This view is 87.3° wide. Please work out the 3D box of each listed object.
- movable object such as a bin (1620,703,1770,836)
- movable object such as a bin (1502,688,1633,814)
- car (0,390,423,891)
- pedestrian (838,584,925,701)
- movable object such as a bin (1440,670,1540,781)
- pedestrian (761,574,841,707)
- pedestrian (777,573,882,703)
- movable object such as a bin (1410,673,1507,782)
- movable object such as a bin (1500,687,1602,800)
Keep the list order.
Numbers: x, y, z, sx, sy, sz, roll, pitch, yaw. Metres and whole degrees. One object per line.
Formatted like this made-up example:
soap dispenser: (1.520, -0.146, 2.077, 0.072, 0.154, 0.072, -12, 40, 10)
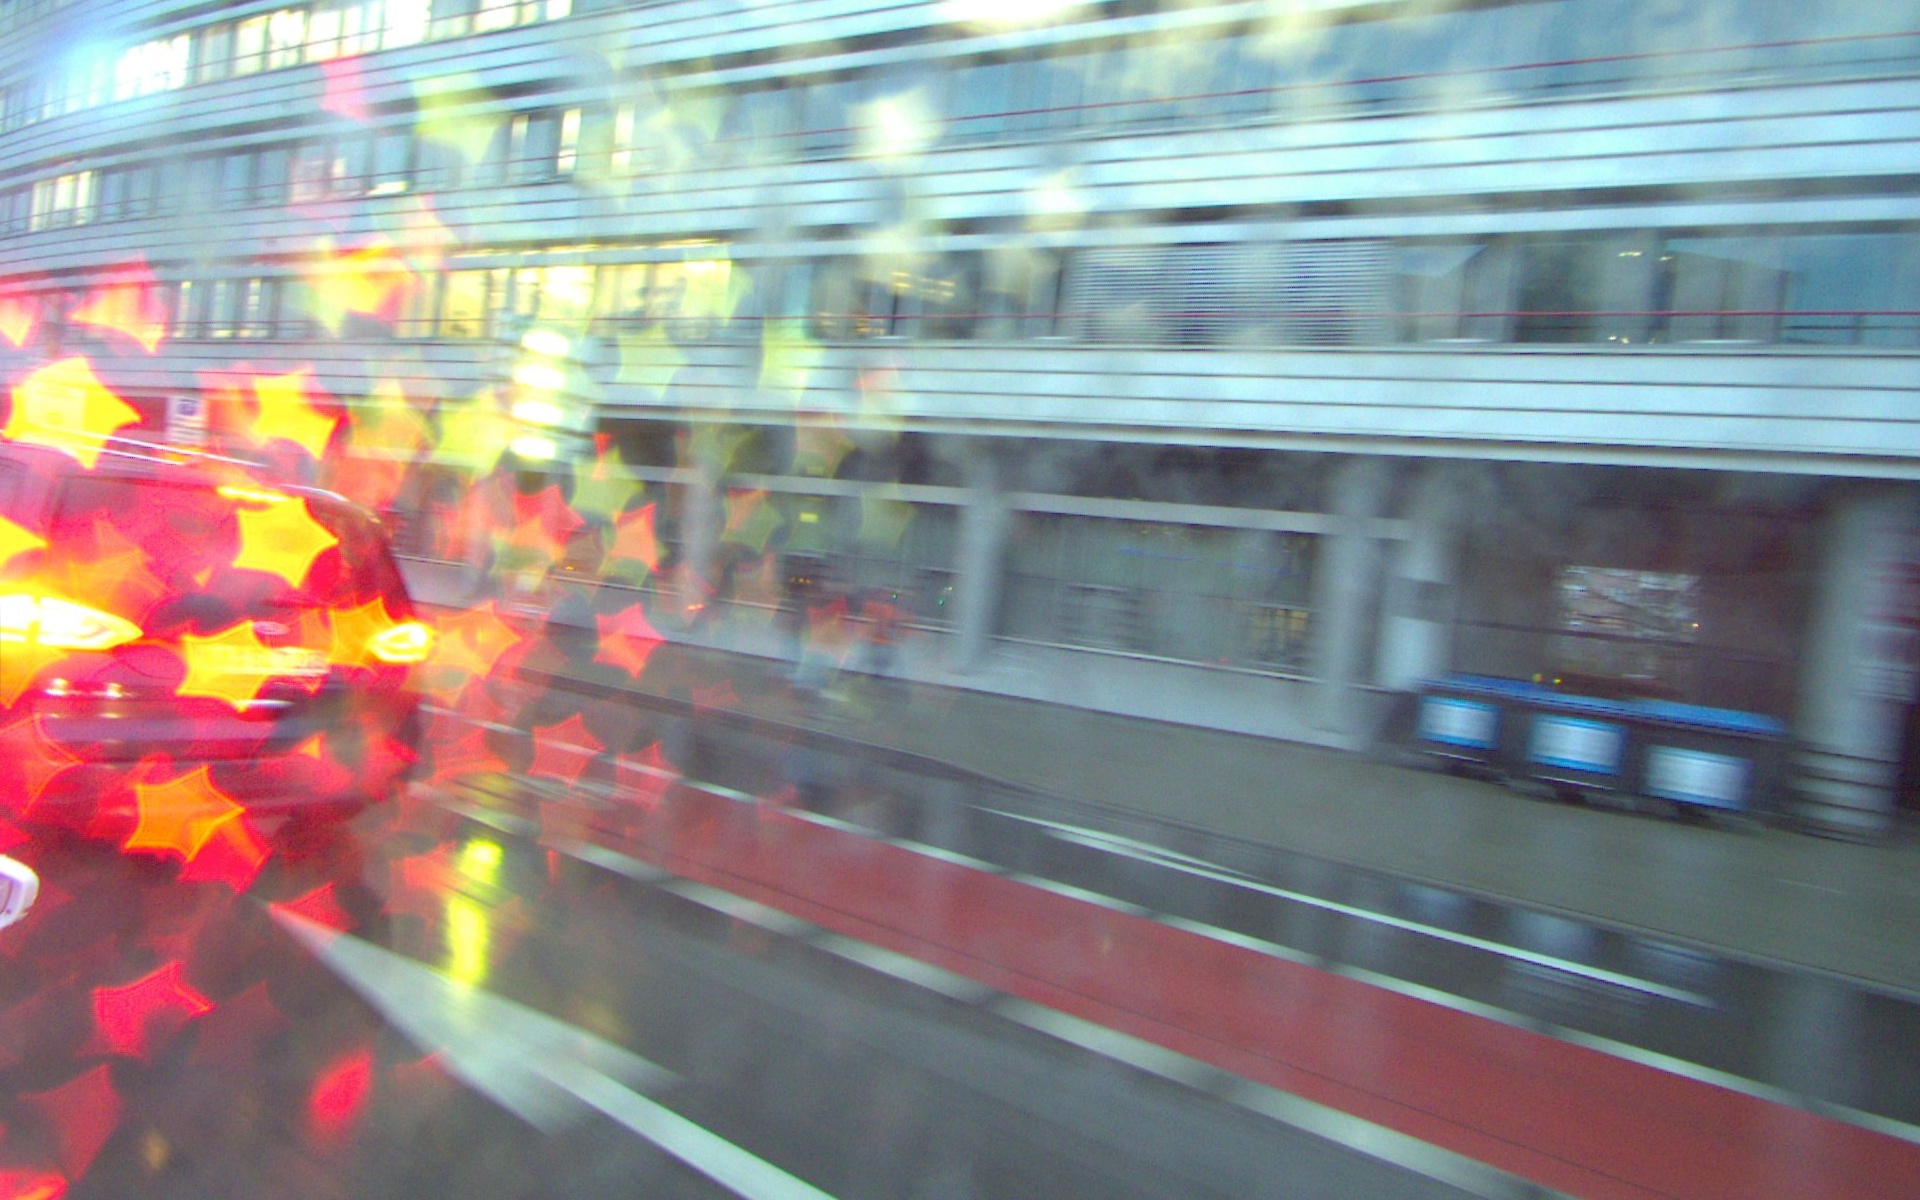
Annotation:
movable object such as a bin: (8.831, 2.013, 12.154, 1.147, 1.311, 0.846, 7, 2, 21)
movable object such as a bin: (7.576, 1.859, 12.615, 1.147, 1.311, 0.846, 7, 2, 21)
car: (-4.770, 0.021, 5.178, 3.934, 1.801, 1.676, 7, 0, 32)
pedestrian: (-1.190, 0.646, 15.219, 0.887, 1.645, 0.727, 7, 0, 31)
movable object such as a bin: (7.743, 1.813, 14.749, 1.060, 1.401, 0.730, 7, 2, 21)
pedestrian: (-2.165, 0.550, 13.711, 0.732, 1.703, 0.531, 7, 0, 31)
pedestrian: (-1.852, 0.542, 14.313, 1.051, 1.706, 0.794, 7, 0, 31)
movable object such as a bin: (6.942, 1.753, 14.072, 0.994, 1.311, 0.867, 7, 2, 21)
movable object such as a bin: (8.019, 1.920, 13.689, 0.946, 1.322, 0.730, 7, 2, 21)
